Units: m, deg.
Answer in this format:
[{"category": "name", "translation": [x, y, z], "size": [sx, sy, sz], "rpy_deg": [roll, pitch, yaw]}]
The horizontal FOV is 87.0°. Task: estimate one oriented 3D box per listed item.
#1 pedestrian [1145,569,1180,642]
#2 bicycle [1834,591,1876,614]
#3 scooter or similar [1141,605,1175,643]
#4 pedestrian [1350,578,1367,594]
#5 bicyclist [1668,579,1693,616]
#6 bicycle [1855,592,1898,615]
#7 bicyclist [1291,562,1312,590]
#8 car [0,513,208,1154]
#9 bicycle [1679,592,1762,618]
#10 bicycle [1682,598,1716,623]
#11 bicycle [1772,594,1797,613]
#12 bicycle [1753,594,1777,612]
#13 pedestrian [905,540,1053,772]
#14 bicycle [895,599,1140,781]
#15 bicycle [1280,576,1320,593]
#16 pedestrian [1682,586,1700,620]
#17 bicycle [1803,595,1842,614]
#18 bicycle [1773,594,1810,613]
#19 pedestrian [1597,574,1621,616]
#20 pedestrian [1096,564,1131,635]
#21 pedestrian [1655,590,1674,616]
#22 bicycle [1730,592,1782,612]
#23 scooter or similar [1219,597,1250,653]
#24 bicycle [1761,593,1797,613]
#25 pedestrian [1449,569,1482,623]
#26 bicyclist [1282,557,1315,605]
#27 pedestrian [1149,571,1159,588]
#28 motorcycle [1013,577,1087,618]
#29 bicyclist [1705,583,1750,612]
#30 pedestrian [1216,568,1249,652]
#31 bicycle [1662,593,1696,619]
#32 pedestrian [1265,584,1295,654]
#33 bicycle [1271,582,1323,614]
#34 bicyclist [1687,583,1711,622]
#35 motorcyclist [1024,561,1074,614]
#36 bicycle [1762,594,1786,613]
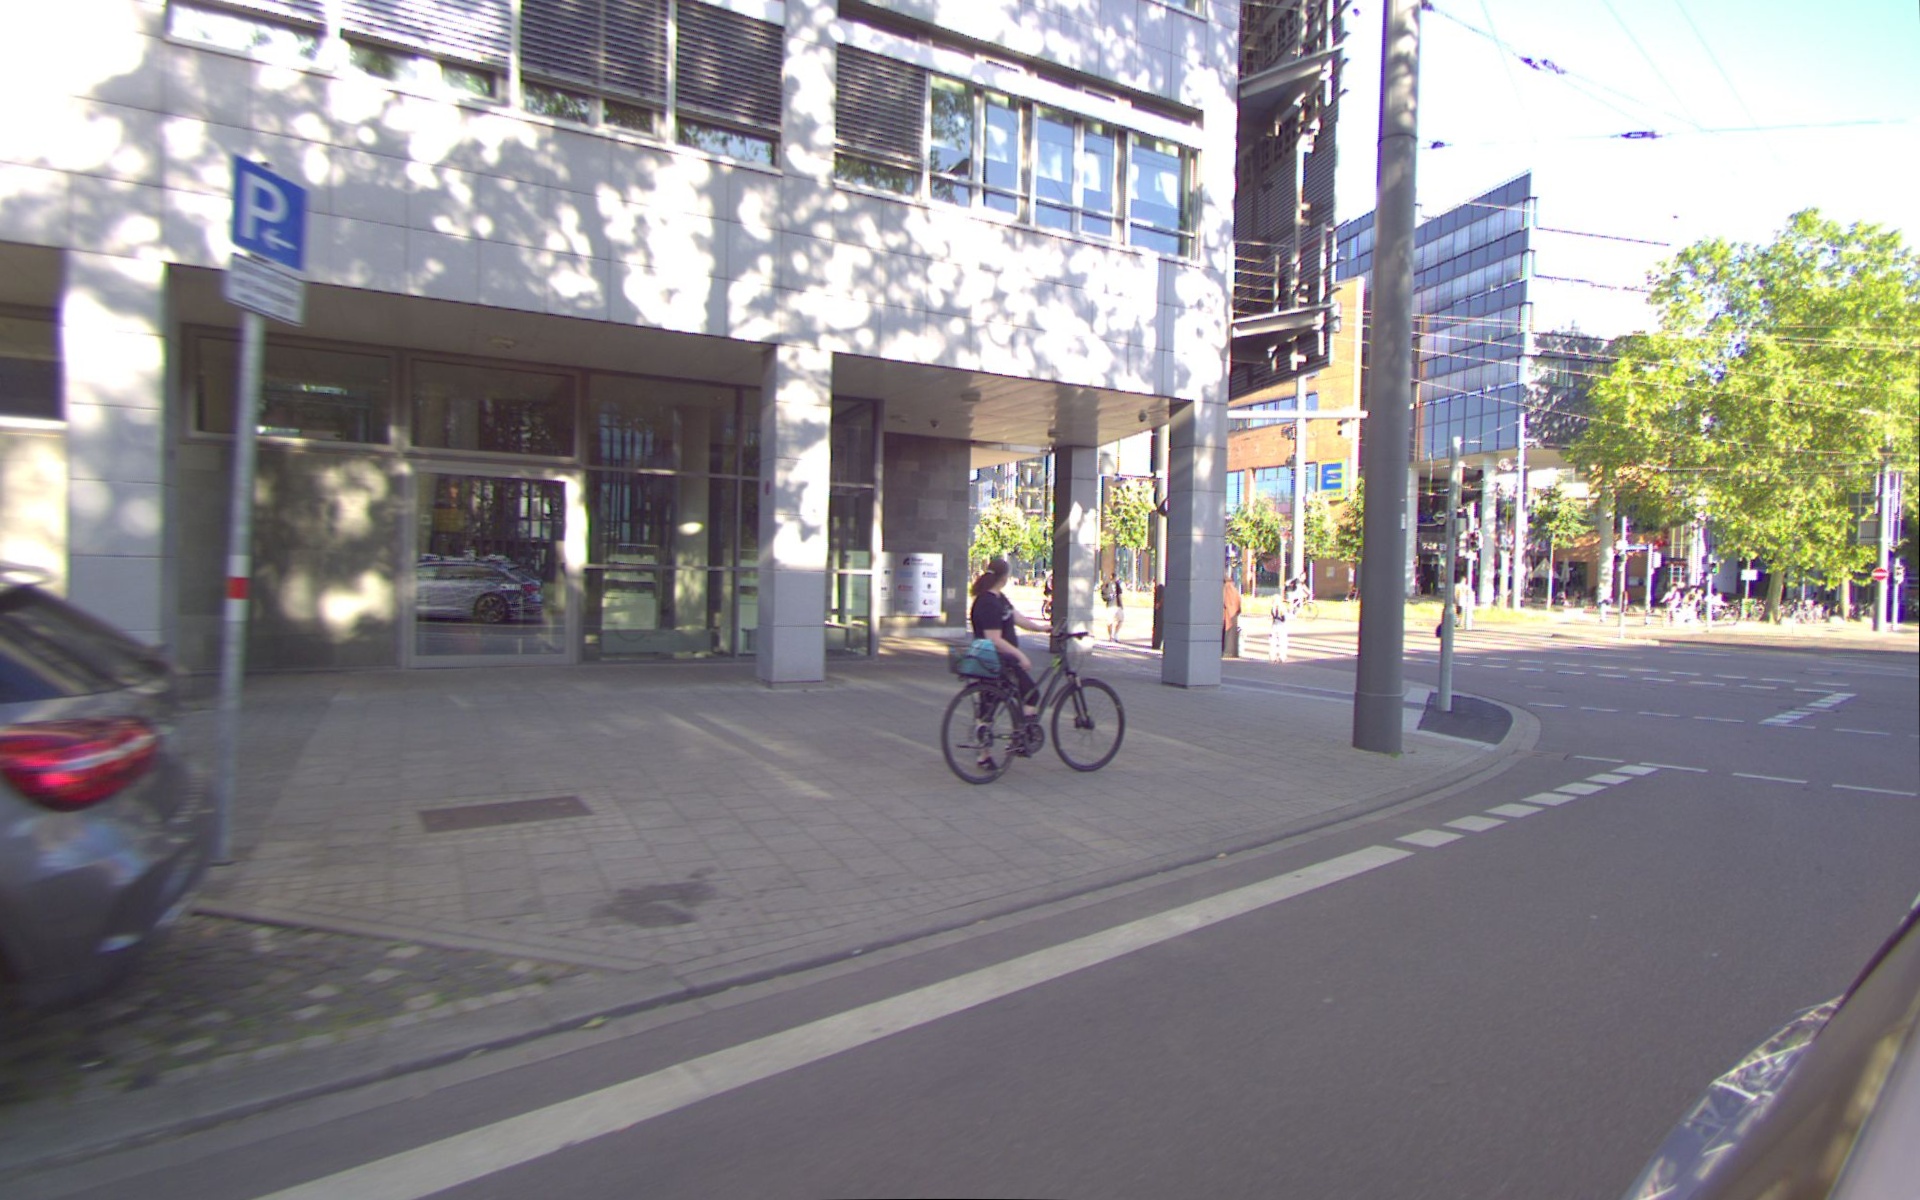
[{"category": "pedestrian", "translation": [4.620, 0.113, 23.077], "size": [0.651, 1.621, 0.700], "rpy_deg": [2, 0, 18]}, {"category": "bicycle", "translation": [54.332, 0.144, 61.478], "size": [0.867, 1.250, 2.912], "rpy_deg": [3, 3, 21]}, {"category": "scooter or similar", "translation": [4.396, 0.522, 22.443], "size": [0.651, 0.800, 0.614], "rpy_deg": [2, 1, 18]}, {"category": "pedestrian", "translation": [28.517, -1.001, 72.447], "size": [0.770, 1.070, 0.816], "rpy_deg": [1, 2, -19]}, {"category": "bicyclist", "translation": [30.574, -0.113, 42.946], "size": [0.730, 1.521, 0.571], "rpy_deg": [0, 1, -29]}, {"category": "bicycle", "translation": [55.292, 0.186, 61.111], "size": [0.867, 1.250, 2.912], "rpy_deg": [3, 3, 21]}, {"category": "bicyclist", "translation": [24.905, -1.751, 73.811], "size": [0.818, 1.955, 1.233], "rpy_deg": [1, 2, -27]}, {"category": "car", "translation": [-4.364, 0.546, 2.228], "size": [4.333, 1.591, 1.866], "rpy_deg": [0, 5, -37]}, {"category": "bicycle", "translation": [38.676, 0.233, 51.521], "size": [1.024, 1.147, 3.180], "rpy_deg": [0, 2, -37]}, {"category": "bicycle", "translation": [32.630, 0.449, 44.678], "size": [1.821, 1.034, 0.517], "rpy_deg": [0, 2, -30]}, {"category": "bicycle", "translation": [45.179, 0.196, 55.464], "size": [1.676, 0.998, 0.391], "rpy_deg": [0, 2, -28]}, {"category": "bicycle", "translation": [44.772, 0.168, 56.284], "size": [1.676, 0.998, 0.391], "rpy_deg": [0, 2, -28]}, {"category": "pedestrian", "translation": [0.145, 0.394, 7.678], "size": [0.822, 1.630, 0.606], "rpy_deg": [2, 4, -38]}, {"category": "bicycle", "translation": [0.469, 0.629, 7.638], "size": [1.814, 1.177, 0.613], "rpy_deg": [2, 4, -38]}, {"category": "bicycle", "translation": [24.823, -1.155, 73.943], "size": [0.818, 1.127, 3.056], "rpy_deg": [1, 2, -27]}, {"category": "pedestrian", "translation": [35.817, 0.151, 49.607], "size": [0.647, 1.601, 0.489], "rpy_deg": [1, 2, -38]}, {"category": "bicycle", "translation": [54.239, 0.267, 63.678], "size": [0.867, 1.104, 2.912], "rpy_deg": [3, 3, 21]}, {"category": "bicycle", "translation": [53.031, 0.207, 64.567], "size": [0.867, 1.104, 2.912], "rpy_deg": [3, 3, 21]}, {"category": "pedestrian", "translation": [29.130, -0.236, 45.421], "size": [0.688, 1.860, 0.516], "rpy_deg": [2, 0, -6]}, {"category": "pedestrian", "translation": [3.803, -0.024, 25.105], "size": [0.676, 1.736, 0.647], "rpy_deg": [1, 1, -7]}, {"category": "pedestrian", "translation": [42.161, 0.162, 60.563], "size": [0.762, 1.546, 0.565], "rpy_deg": [1, 1, -21]}, {"category": "bicycle", "translation": [50.509, 0.124, 64.259], "size": [0.861, 1.104, 2.934], "rpy_deg": [2, 3, 0]}, {"category": "scooter or similar", "translation": [6.007, 0.528, 22.100], "size": [0.543, 1.143, 1.012], "rpy_deg": [2, 2, 20]}, {"category": "bicycle", "translation": [51.936, 0.178, 64.214], "size": [0.867, 1.104, 2.912], "rpy_deg": [3, 3, 21]}, {"category": "pedestrian", "translation": [17.878, -0.157, 35.789], "size": [0.869, 1.845, 0.677], "rpy_deg": [-1, 2, -36]}, {"category": "bicyclist", "translation": [12.364, -0.695, 36.957], "size": [0.985, 1.687, 0.758], "rpy_deg": [3, 2, 30]}, {"category": "pedestrian", "translation": [17.867, -1.909, 93.223], "size": [0.693, 1.589, 0.624], "rpy_deg": [1, 2, -18]}, {"category": "motorcycle", "translation": [3.042, -0.110, 34.643], "size": [0.967, 1.247, 2.947], "rpy_deg": [0, 2, -30]}, {"category": "bicyclist", "translation": [38.889, -0.123, 51.264], "size": [1.024, 1.398, 1.564], "rpy_deg": [0, 2, -37]}, {"category": "pedestrian", "translation": [5.746, 0.194, 21.319], "size": [0.574, 1.729, 0.634], "rpy_deg": [2, 1, 19]}, {"category": "bicycle", "translation": [30.517, 0.246, 42.948], "size": [1.600, 1.034, 0.517], "rpy_deg": [0, 2, -29]}, {"category": "pedestrian", "translation": [6.715, 0.391, 21.215], "size": [0.539, 1.419, 0.634], "rpy_deg": [2, 1, 19]}, {"category": "bicycle", "translation": [12.309, -0.085, 36.998], "size": [1.671, 1.121, 0.638], "rpy_deg": [3, 2, 30]}, {"category": "bicyclist", "translation": [32.624, 0.098, 44.686], "size": [0.730, 1.715, 0.570], "rpy_deg": [0, 1, -30]}, {"category": "motorcyclist", "translation": [3.041, -0.440, 34.680], "size": [1.002, 1.752, 1.462], "rpy_deg": [0, 2, -30]}, {"category": "bicycle", "translation": [44.968, 0.181, 55.899], "size": [1.676, 0.998, 0.391], "rpy_deg": [0, 2, -28]}]
